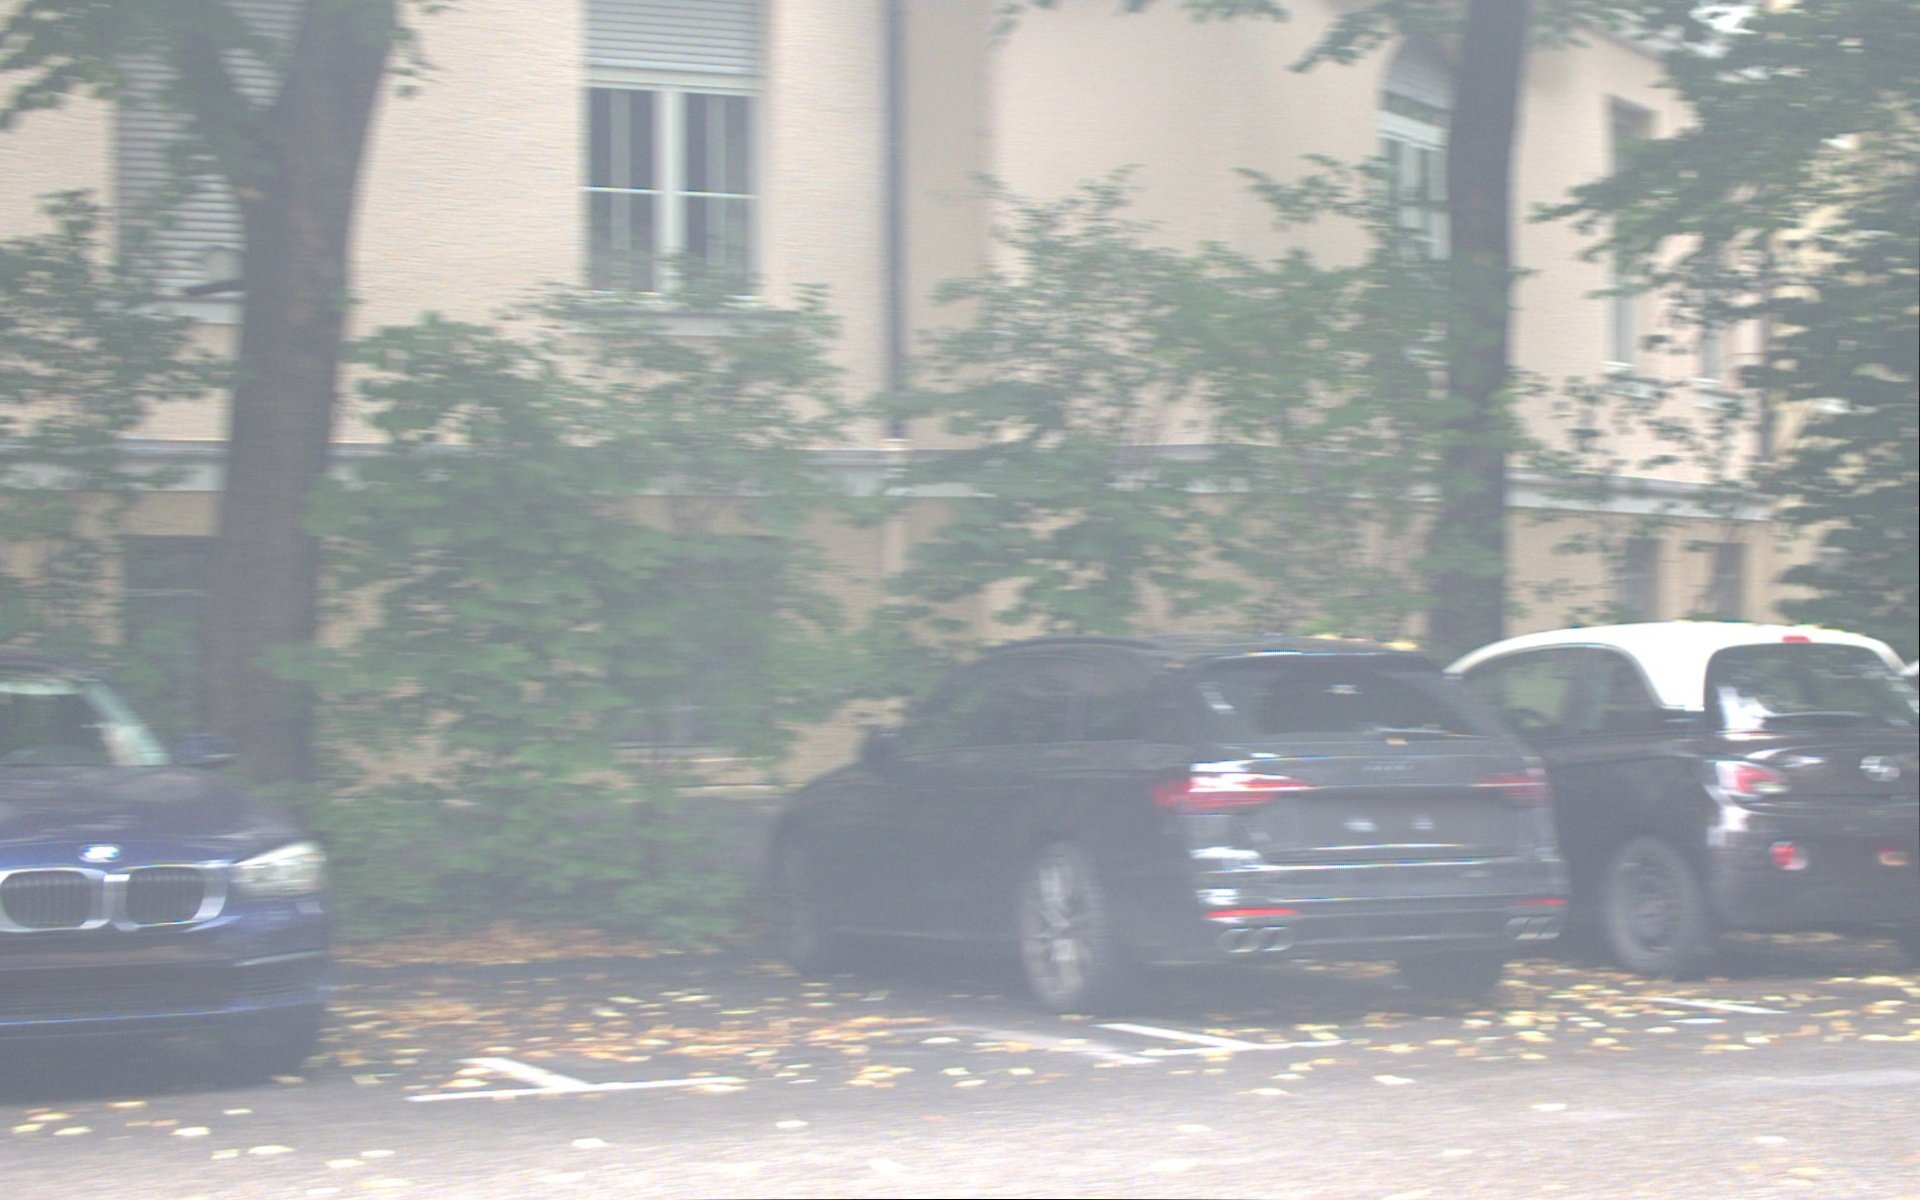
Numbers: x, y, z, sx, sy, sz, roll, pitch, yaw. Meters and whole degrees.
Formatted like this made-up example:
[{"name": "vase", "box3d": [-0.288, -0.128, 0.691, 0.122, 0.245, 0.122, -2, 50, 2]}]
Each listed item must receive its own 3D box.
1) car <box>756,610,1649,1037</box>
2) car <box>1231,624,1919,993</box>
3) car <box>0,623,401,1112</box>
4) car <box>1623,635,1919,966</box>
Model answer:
[{"name": "car", "box3d": [0.769, 0.826, 13.805, 1.857, 1.421, 4.163, 0, -2, -23]}, {"name": "car", "box3d": [2.951, 0.917, 15.349, 1.827, 1.421, 3.750, 0, -3, -25]}, {"name": "car", "box3d": [-3.583, 0.786, 11.737, 1.839, 1.378, 4.342, 0, -1, -31]}, {"name": "car", "box3d": [5.180, 0.918, 16.118, 1.797, 1.508, 4.285, 0, -4, -26]}]
